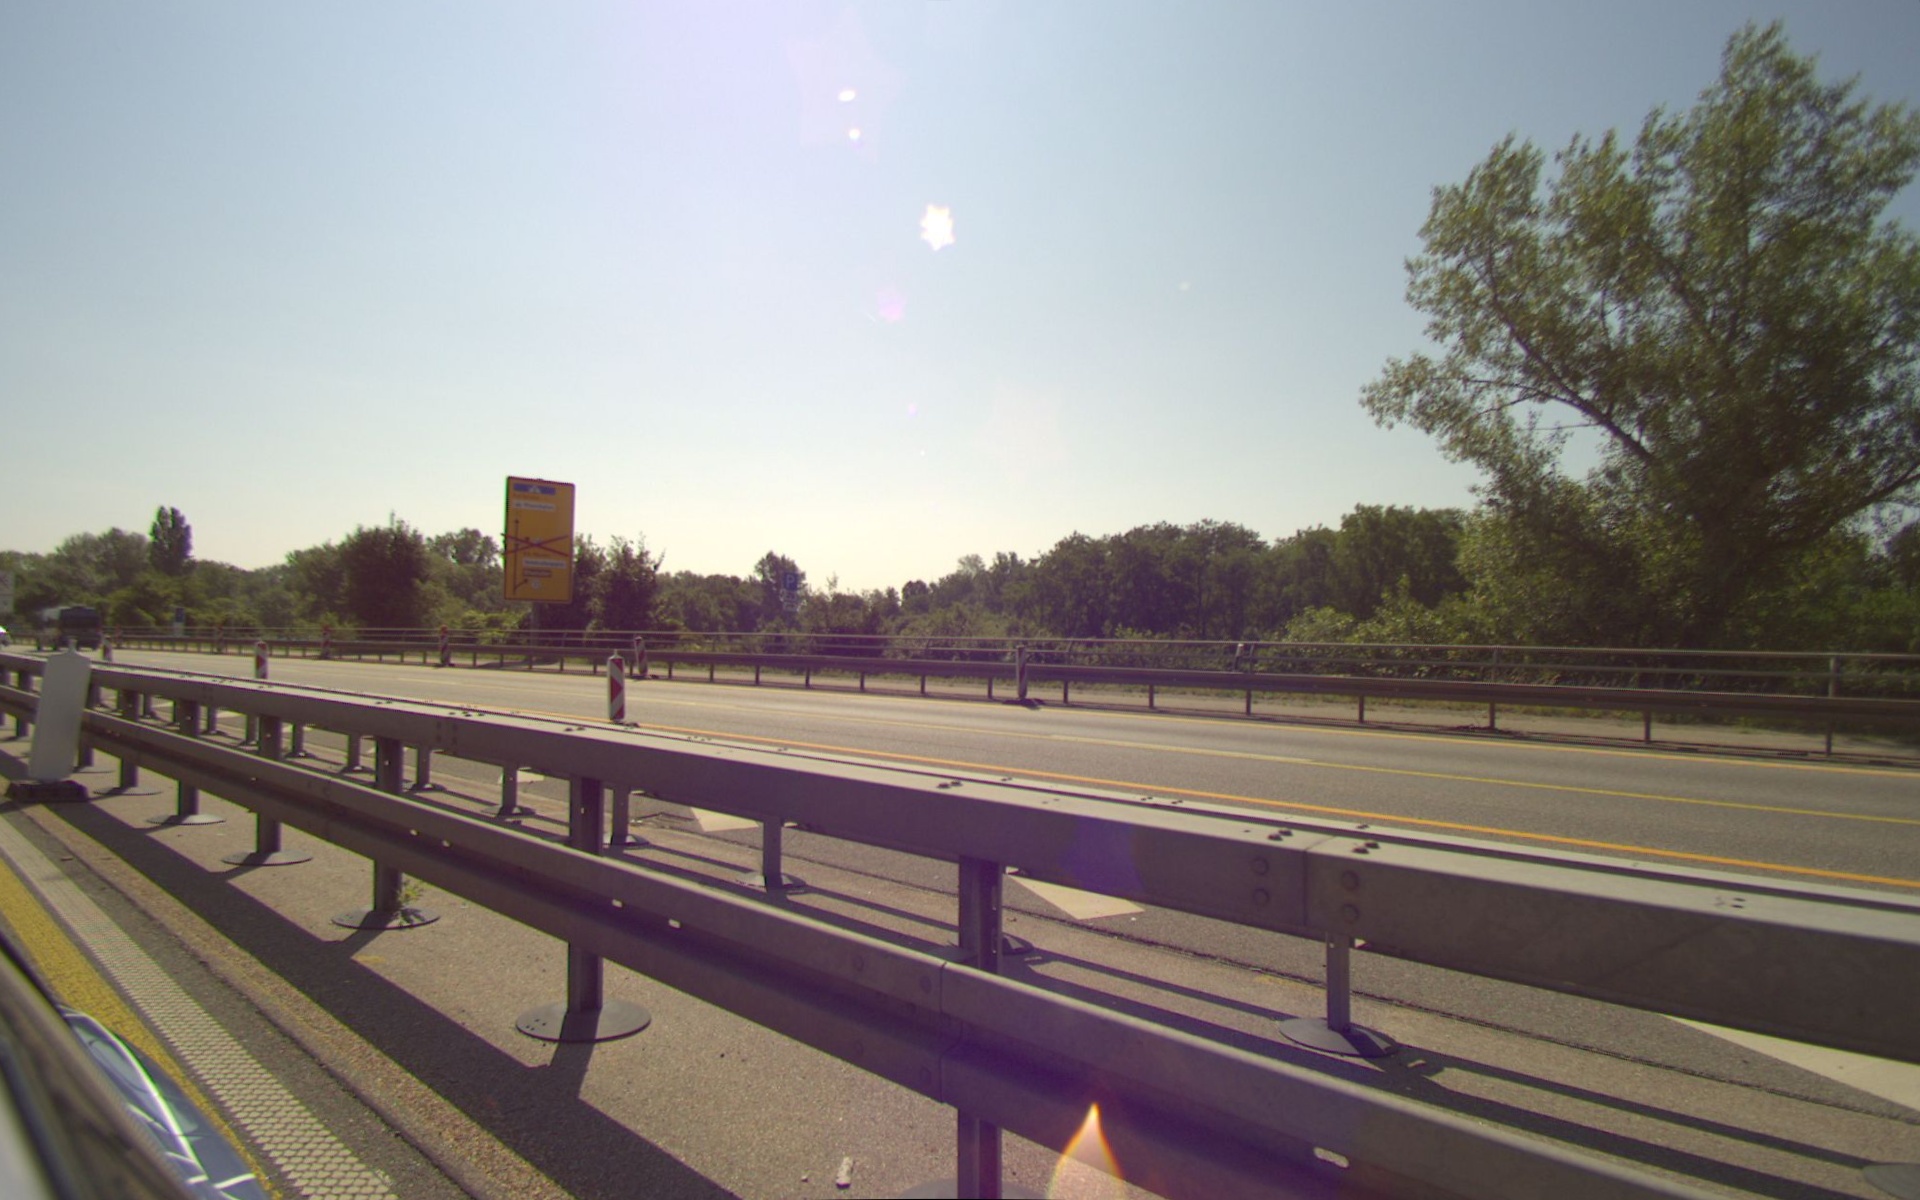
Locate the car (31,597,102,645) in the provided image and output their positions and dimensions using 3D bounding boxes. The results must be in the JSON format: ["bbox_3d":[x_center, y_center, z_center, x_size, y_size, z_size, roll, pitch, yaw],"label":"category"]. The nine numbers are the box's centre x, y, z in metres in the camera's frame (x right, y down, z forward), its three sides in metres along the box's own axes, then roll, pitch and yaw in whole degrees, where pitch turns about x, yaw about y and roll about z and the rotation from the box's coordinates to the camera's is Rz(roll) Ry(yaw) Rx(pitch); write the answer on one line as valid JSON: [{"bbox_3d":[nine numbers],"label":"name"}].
[{"bbox_3d":[-52.658,1.261,59.612,5.539,2.681,2.125,-1,-2,38],"label":"car"}]

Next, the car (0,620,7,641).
[{"bbox_3d":[-67.291,2.073,69.584,4.509,1.408,1.704,-1,-1,35],"label":"car"}]
